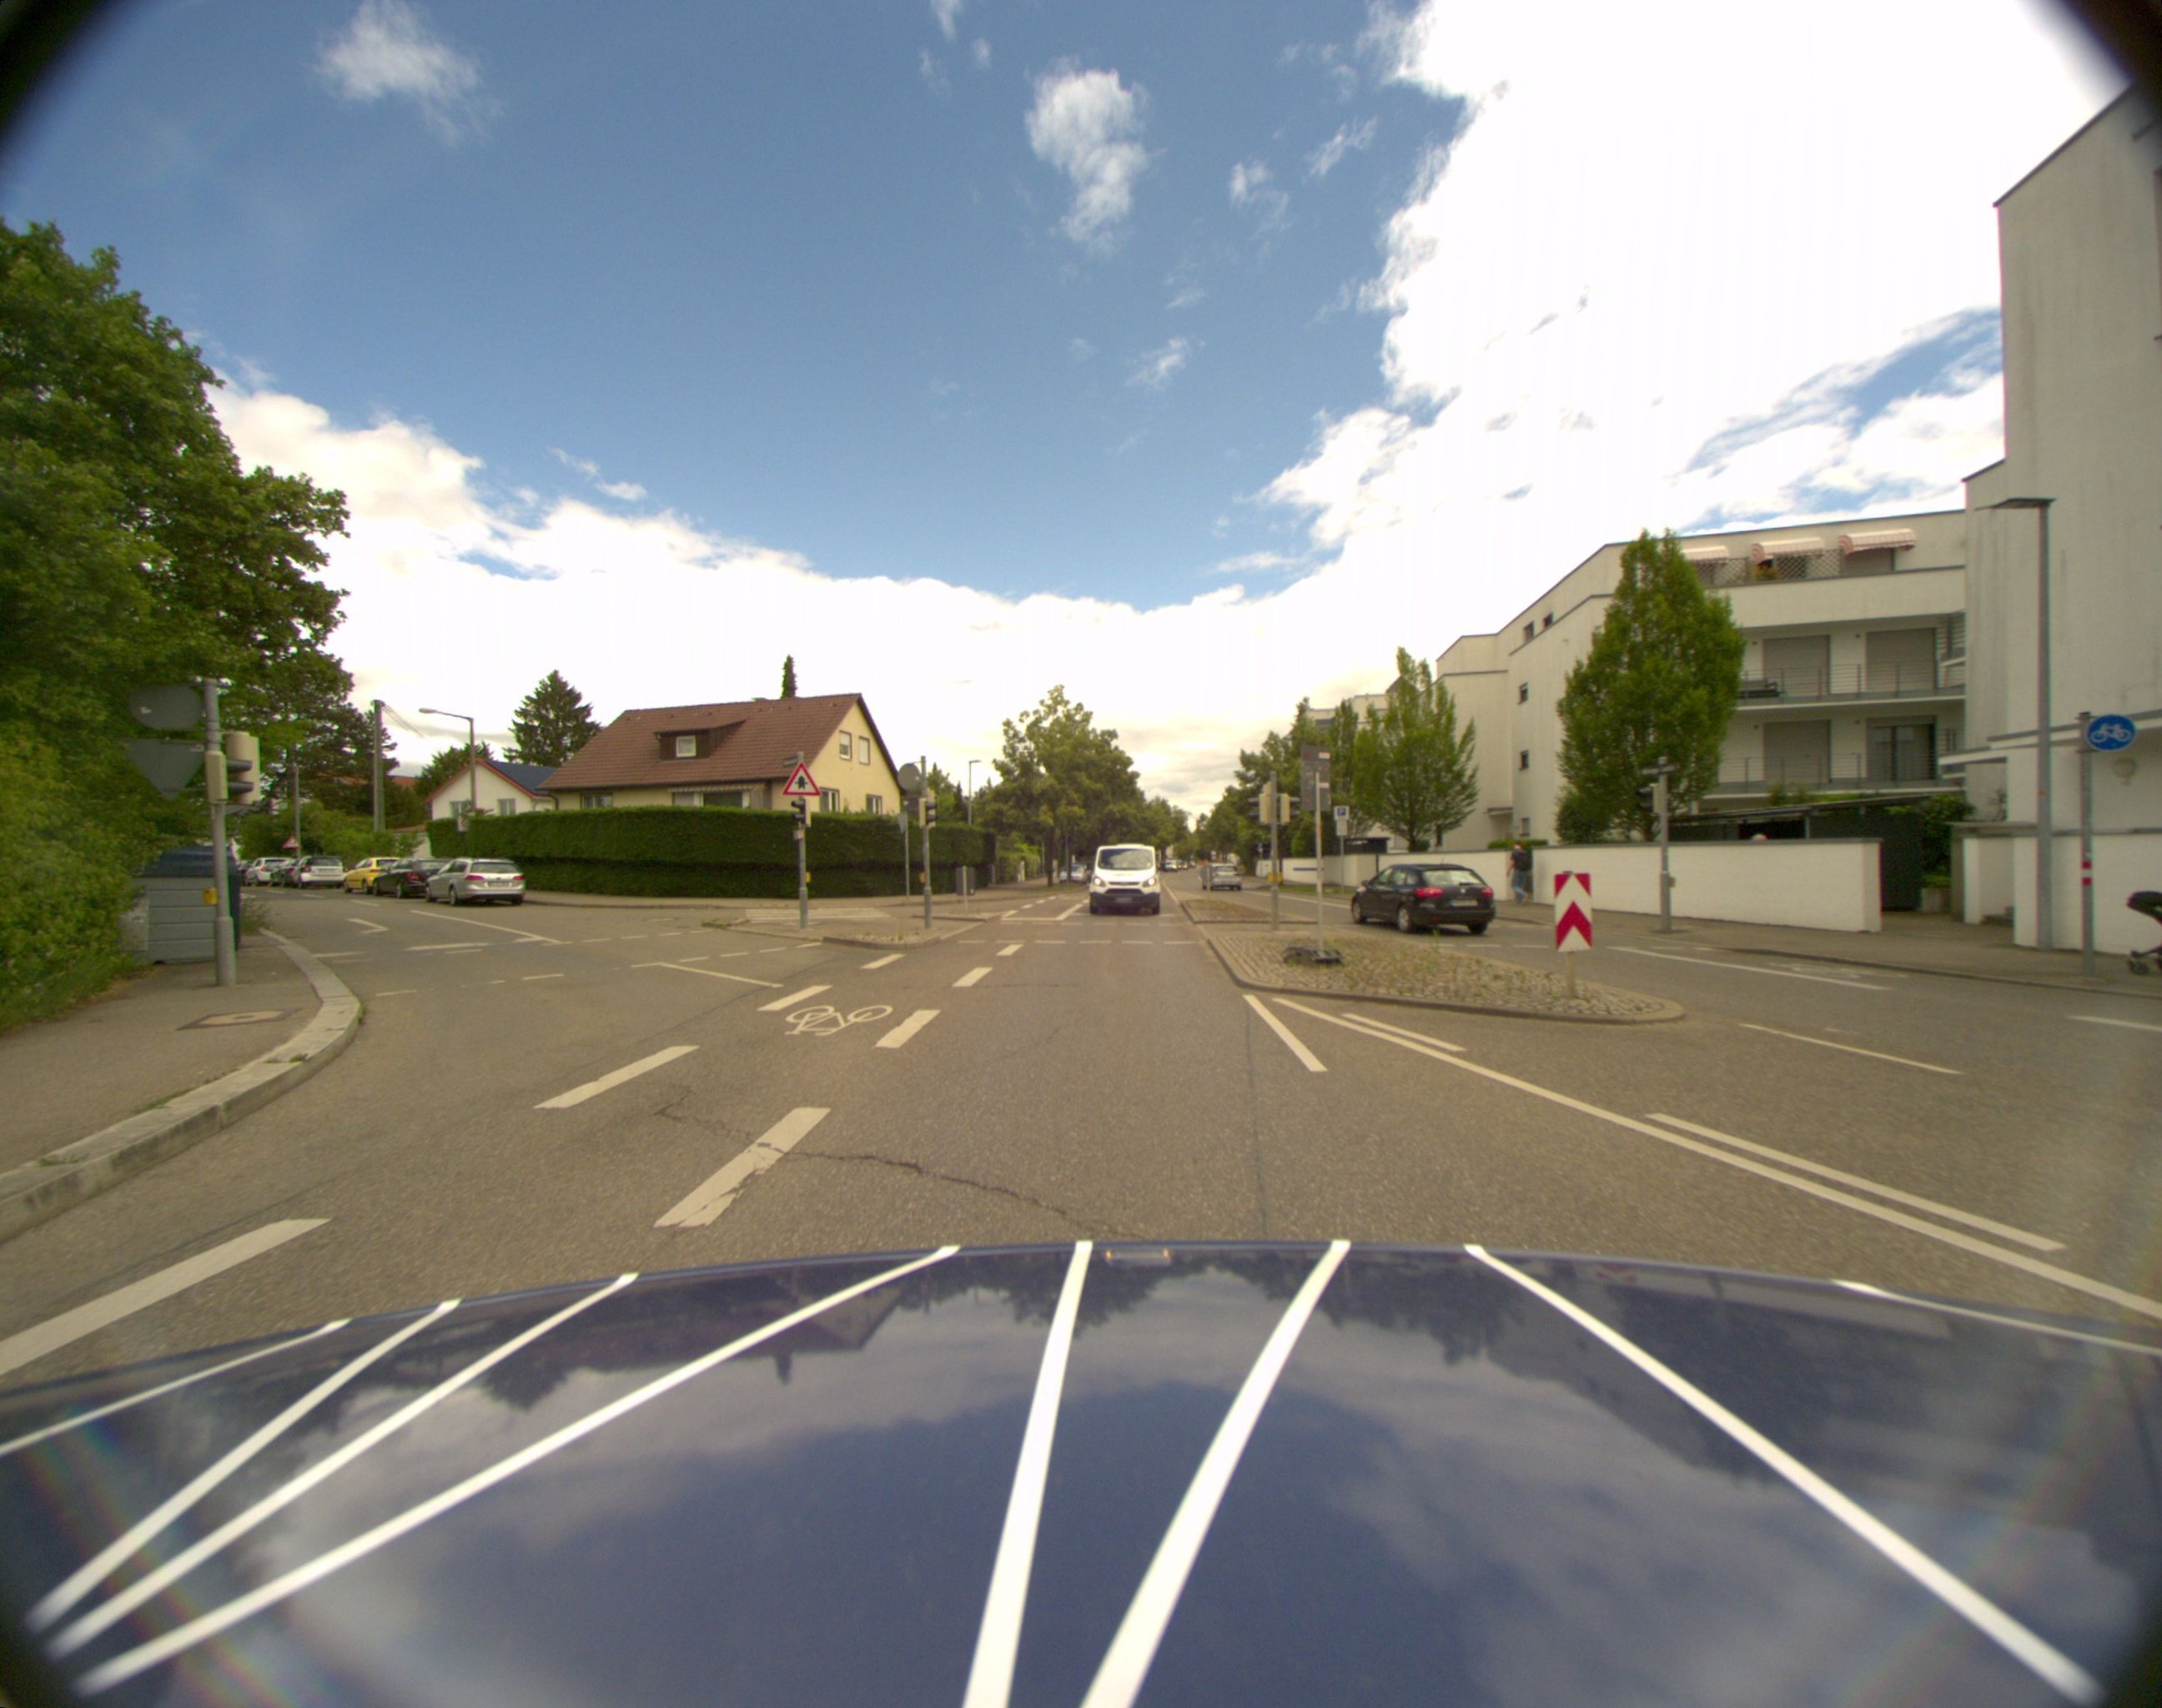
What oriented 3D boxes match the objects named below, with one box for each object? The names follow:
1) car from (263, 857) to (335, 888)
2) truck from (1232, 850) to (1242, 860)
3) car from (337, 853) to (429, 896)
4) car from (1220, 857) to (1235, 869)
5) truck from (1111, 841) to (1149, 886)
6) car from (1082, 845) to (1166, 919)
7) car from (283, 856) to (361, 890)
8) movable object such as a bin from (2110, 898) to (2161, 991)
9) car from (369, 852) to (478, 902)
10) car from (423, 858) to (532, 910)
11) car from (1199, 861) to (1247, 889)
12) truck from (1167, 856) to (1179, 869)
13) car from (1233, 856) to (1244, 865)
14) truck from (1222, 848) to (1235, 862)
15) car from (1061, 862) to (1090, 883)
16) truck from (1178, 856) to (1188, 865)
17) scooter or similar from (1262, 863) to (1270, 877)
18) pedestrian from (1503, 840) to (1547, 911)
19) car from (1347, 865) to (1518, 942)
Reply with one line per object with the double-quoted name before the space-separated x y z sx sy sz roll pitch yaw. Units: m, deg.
"car" -40.095 0.909 38.936 4.339 1.462 1.875 0 1 35
"truck" 40.005 0.278 194.328 1.998 2.530 4.501 -1 0 5
"car" -27.979 0.754 30.412 4.127 1.604 1.875 0 1 35
"car" 20.767 1.252 107.775 1.915 1.643 4.004 0 0 13
"truck" 3.007 0.547 45.499 2.035 2.555 6.060 0 0 6
"car" 1.434 0.755 22.913 2.074 1.956 5.561 0 0 8
"car" -35.780 0.841 35.803 4.339 1.462 1.875 0 1 35
"movable object such as a bin" 11.990 0.992 8.147 0.498 0.954 0.986 -5 0 -2
"car" -23.559 0.747 27.214 4.127 1.631 2.004 0 1 35
"car" -18.951 0.883 23.824 3.911 1.435 1.718 1 0 37
"car" 7.739 1.102 41.763 1.803 1.435 3.948 -1 0 -1
"truck" 13.749 1.251 113.684 1.614 1.780 4.003 0 0 10
"car" 27.782 1.123 134.014 1.888 1.606 4.004 0 0 13
"truck" 31.120 0.167 160.021 2.639 2.757 6.262 -1 0 12
"car" -0.362 1.251 51.453 1.561 1.343 3.542 1 0 6
"truck" 18.421 1.205 136.854 1.617 1.649 4.003 0 0 10
"scooter or similar" 15.815 1.388 65.015 0.434 1.159 1.328 -4 0 7
"pedestrian" 12.627 0.597 21.644 0.650 1.936 0.872 -4 1 1
"car" 7.322 0.962 16.303 1.725 1.383 3.917 1 0 -2
